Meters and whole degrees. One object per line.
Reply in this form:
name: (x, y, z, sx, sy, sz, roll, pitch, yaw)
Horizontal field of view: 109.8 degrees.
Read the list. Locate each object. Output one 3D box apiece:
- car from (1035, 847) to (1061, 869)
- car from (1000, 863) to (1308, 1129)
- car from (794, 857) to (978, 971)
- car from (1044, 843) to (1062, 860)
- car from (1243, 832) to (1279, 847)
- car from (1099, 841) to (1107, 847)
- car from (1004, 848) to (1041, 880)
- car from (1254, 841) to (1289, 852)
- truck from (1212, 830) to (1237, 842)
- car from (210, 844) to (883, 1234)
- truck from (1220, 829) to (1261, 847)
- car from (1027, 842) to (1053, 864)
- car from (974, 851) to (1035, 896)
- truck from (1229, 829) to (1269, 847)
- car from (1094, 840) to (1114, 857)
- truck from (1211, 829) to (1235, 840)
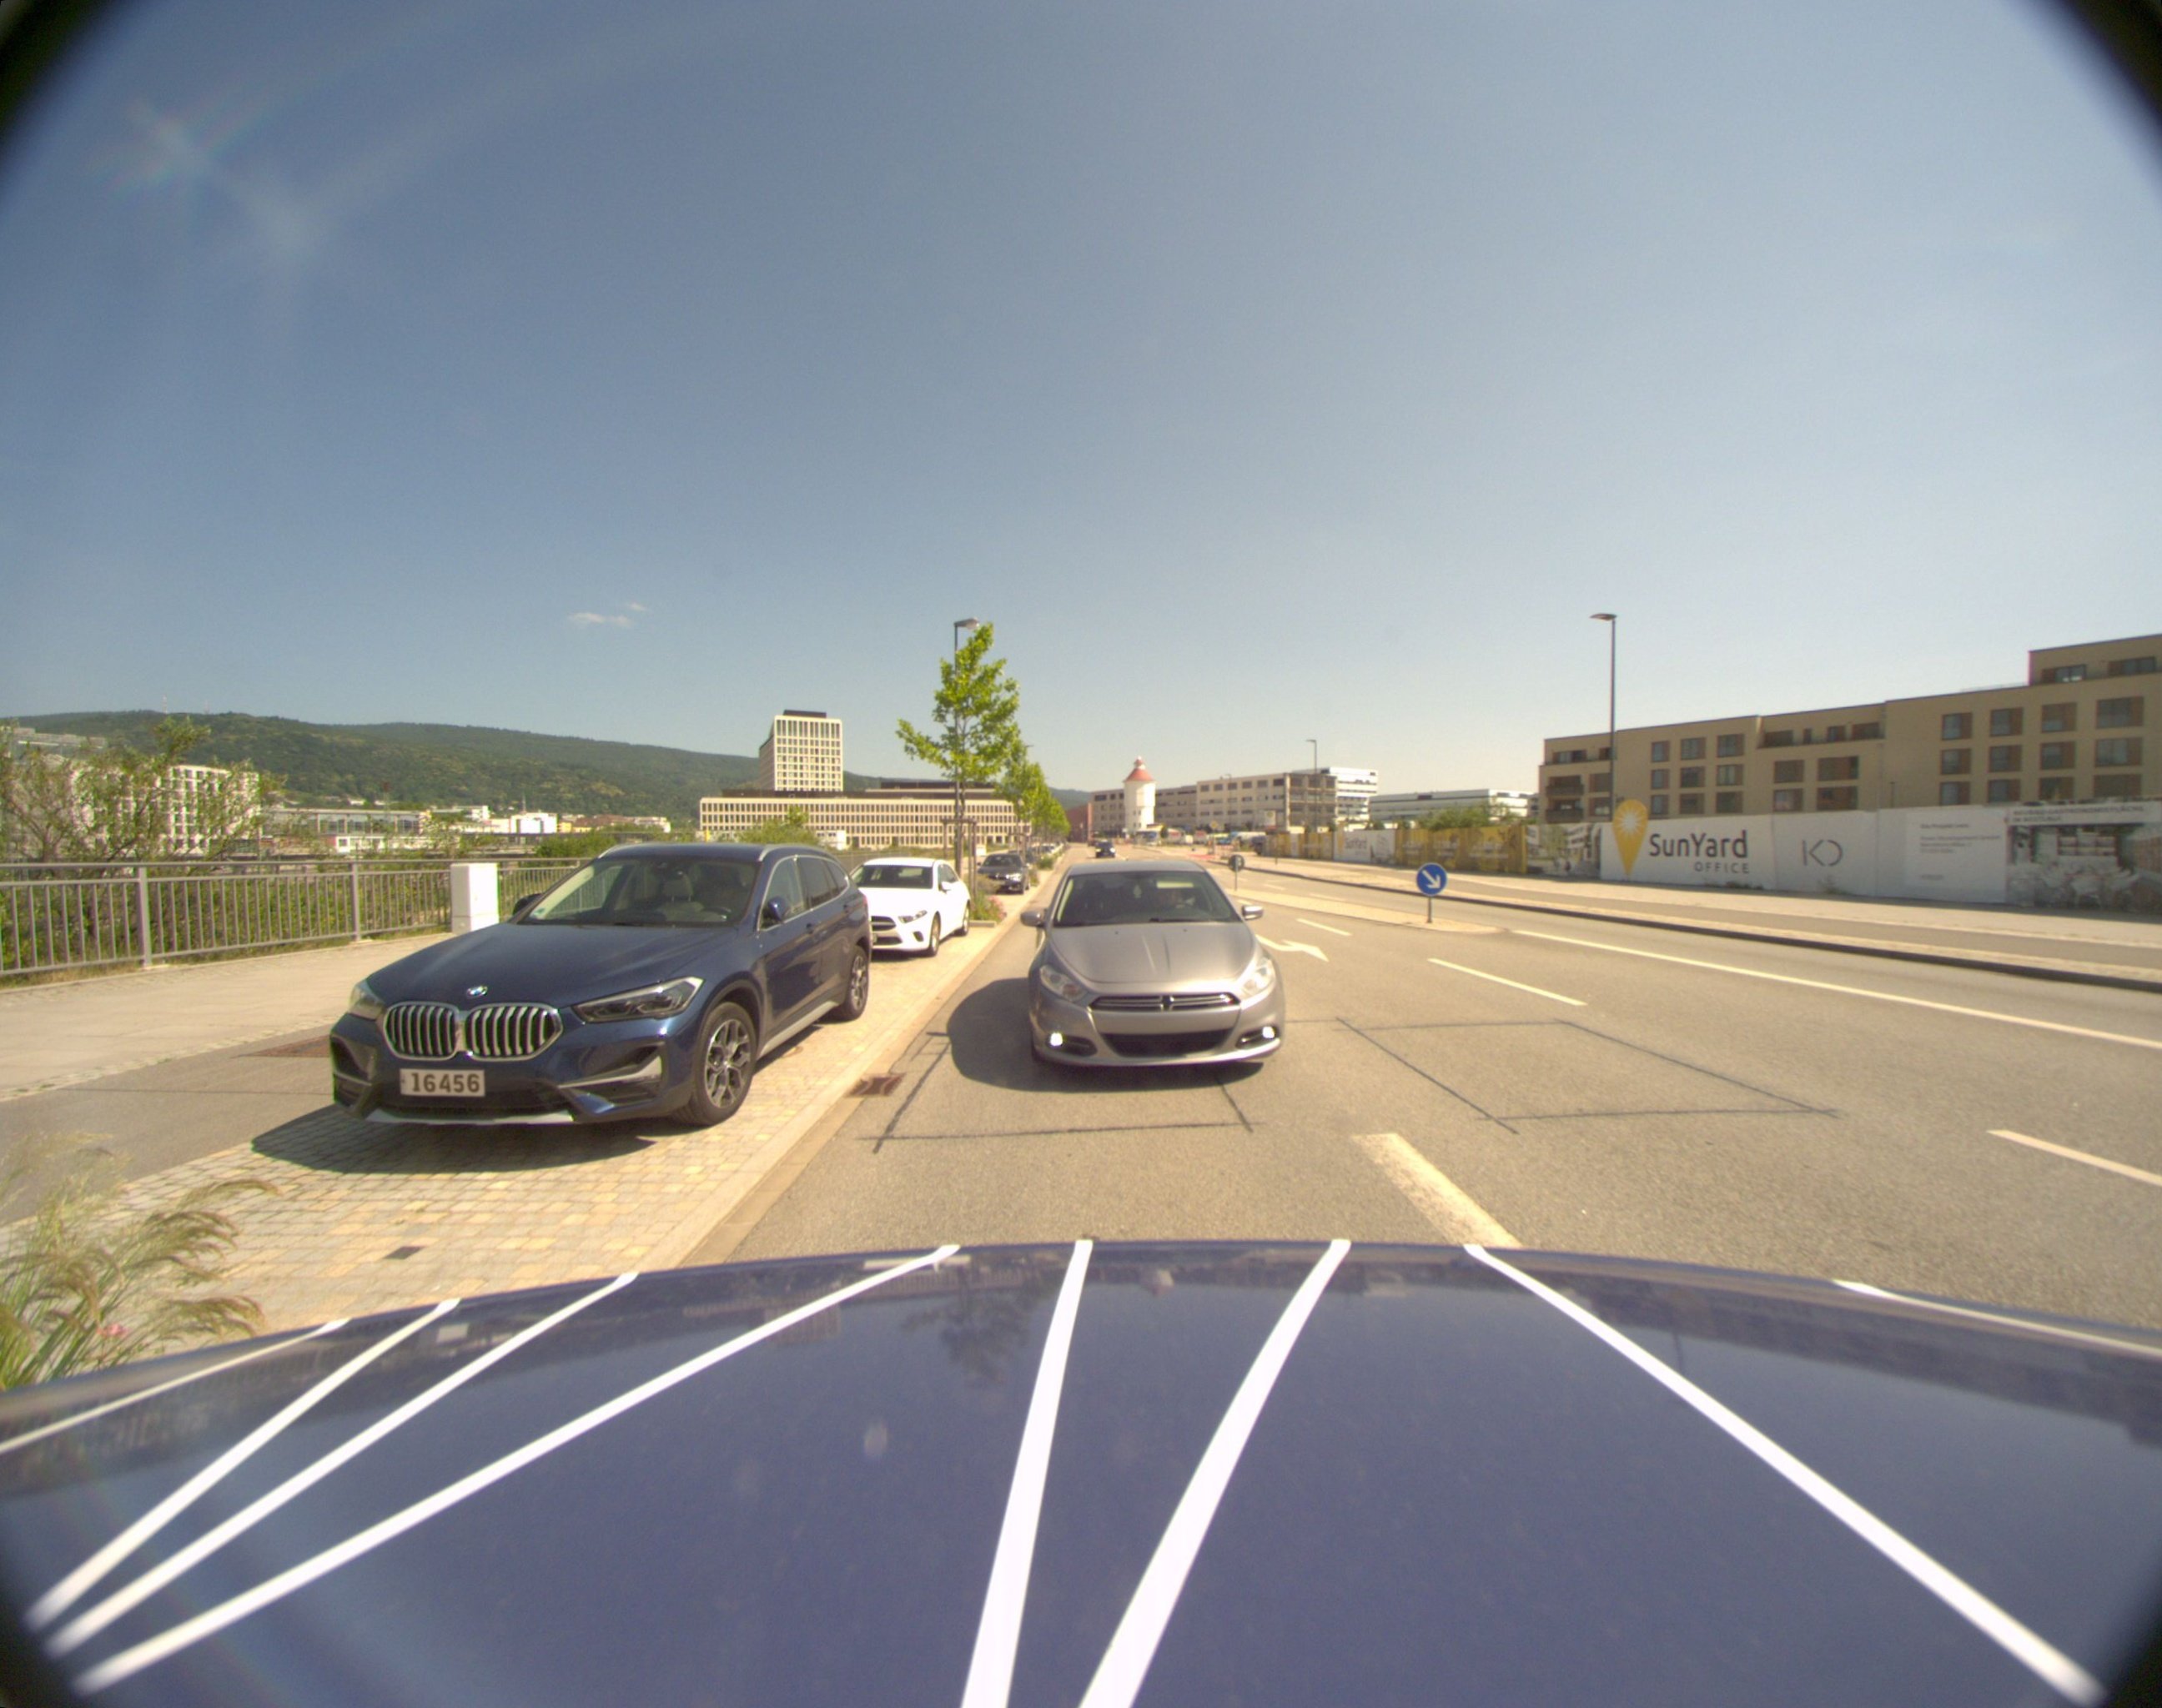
car: (-2.173, 0.243, 50.474, 1.490, 1.302, 3.154, 2, 1, 0)
car: (0.473, 0.884, 6.738, 1.820, 1.458, 4.346, -1, 1, 1)
car: (-2.923, 0.819, 12.376, 1.710, 1.366, 4.270, 2, 1, 2)
car: (-2.601, -0.273, 70.796, 1.526, 1.482, 3.504, -3, 1, 0)
car: (22.862, -1.845, 96.519, 3.930, 1.708, 1.891, -3, 1, -5)
car: (5.187, -2.381, 178.236, 1.819, 1.458, 3.876, -1, 1, 2)
car: (-2.908, 0.459, 38.010, 1.569, 1.465, 3.006, 2, 1, 0)
car: (19.563, -0.767, 78.100, 3.359, 0.947, 1.293, -2, 1, 3)
truck: (33.406, -4.143, 177.297, 5.333, 2.461, 1.999, -3, 1, -4)
car: (-2.902, 0.793, 5.476, 1.808, 1.674, 4.270, 1, 1, 0)
truck: (23.767, -2.437, 113.366, 5.633, 2.461, 1.999, -3, 1, -4)
car: (-3.291, -0.140, 61.095, 1.768, 1.609, 3.374, -3, 1, 0)
car: (-2.716, 0.646, 27.774, 1.808, 1.424, 3.915, 2, 1, 0)
truck: (23.375, -2.233, 105.931, 5.005, 2.215, 1.999, -2, 1, -1)
car: (2.306, -0.527, 74.295, 1.819, 1.458, 4.347, -3, 1, 2)
truck: (34.619, -4.711, 185.333, 5.412, 2.461, 1.999, -2, 1, -2)
